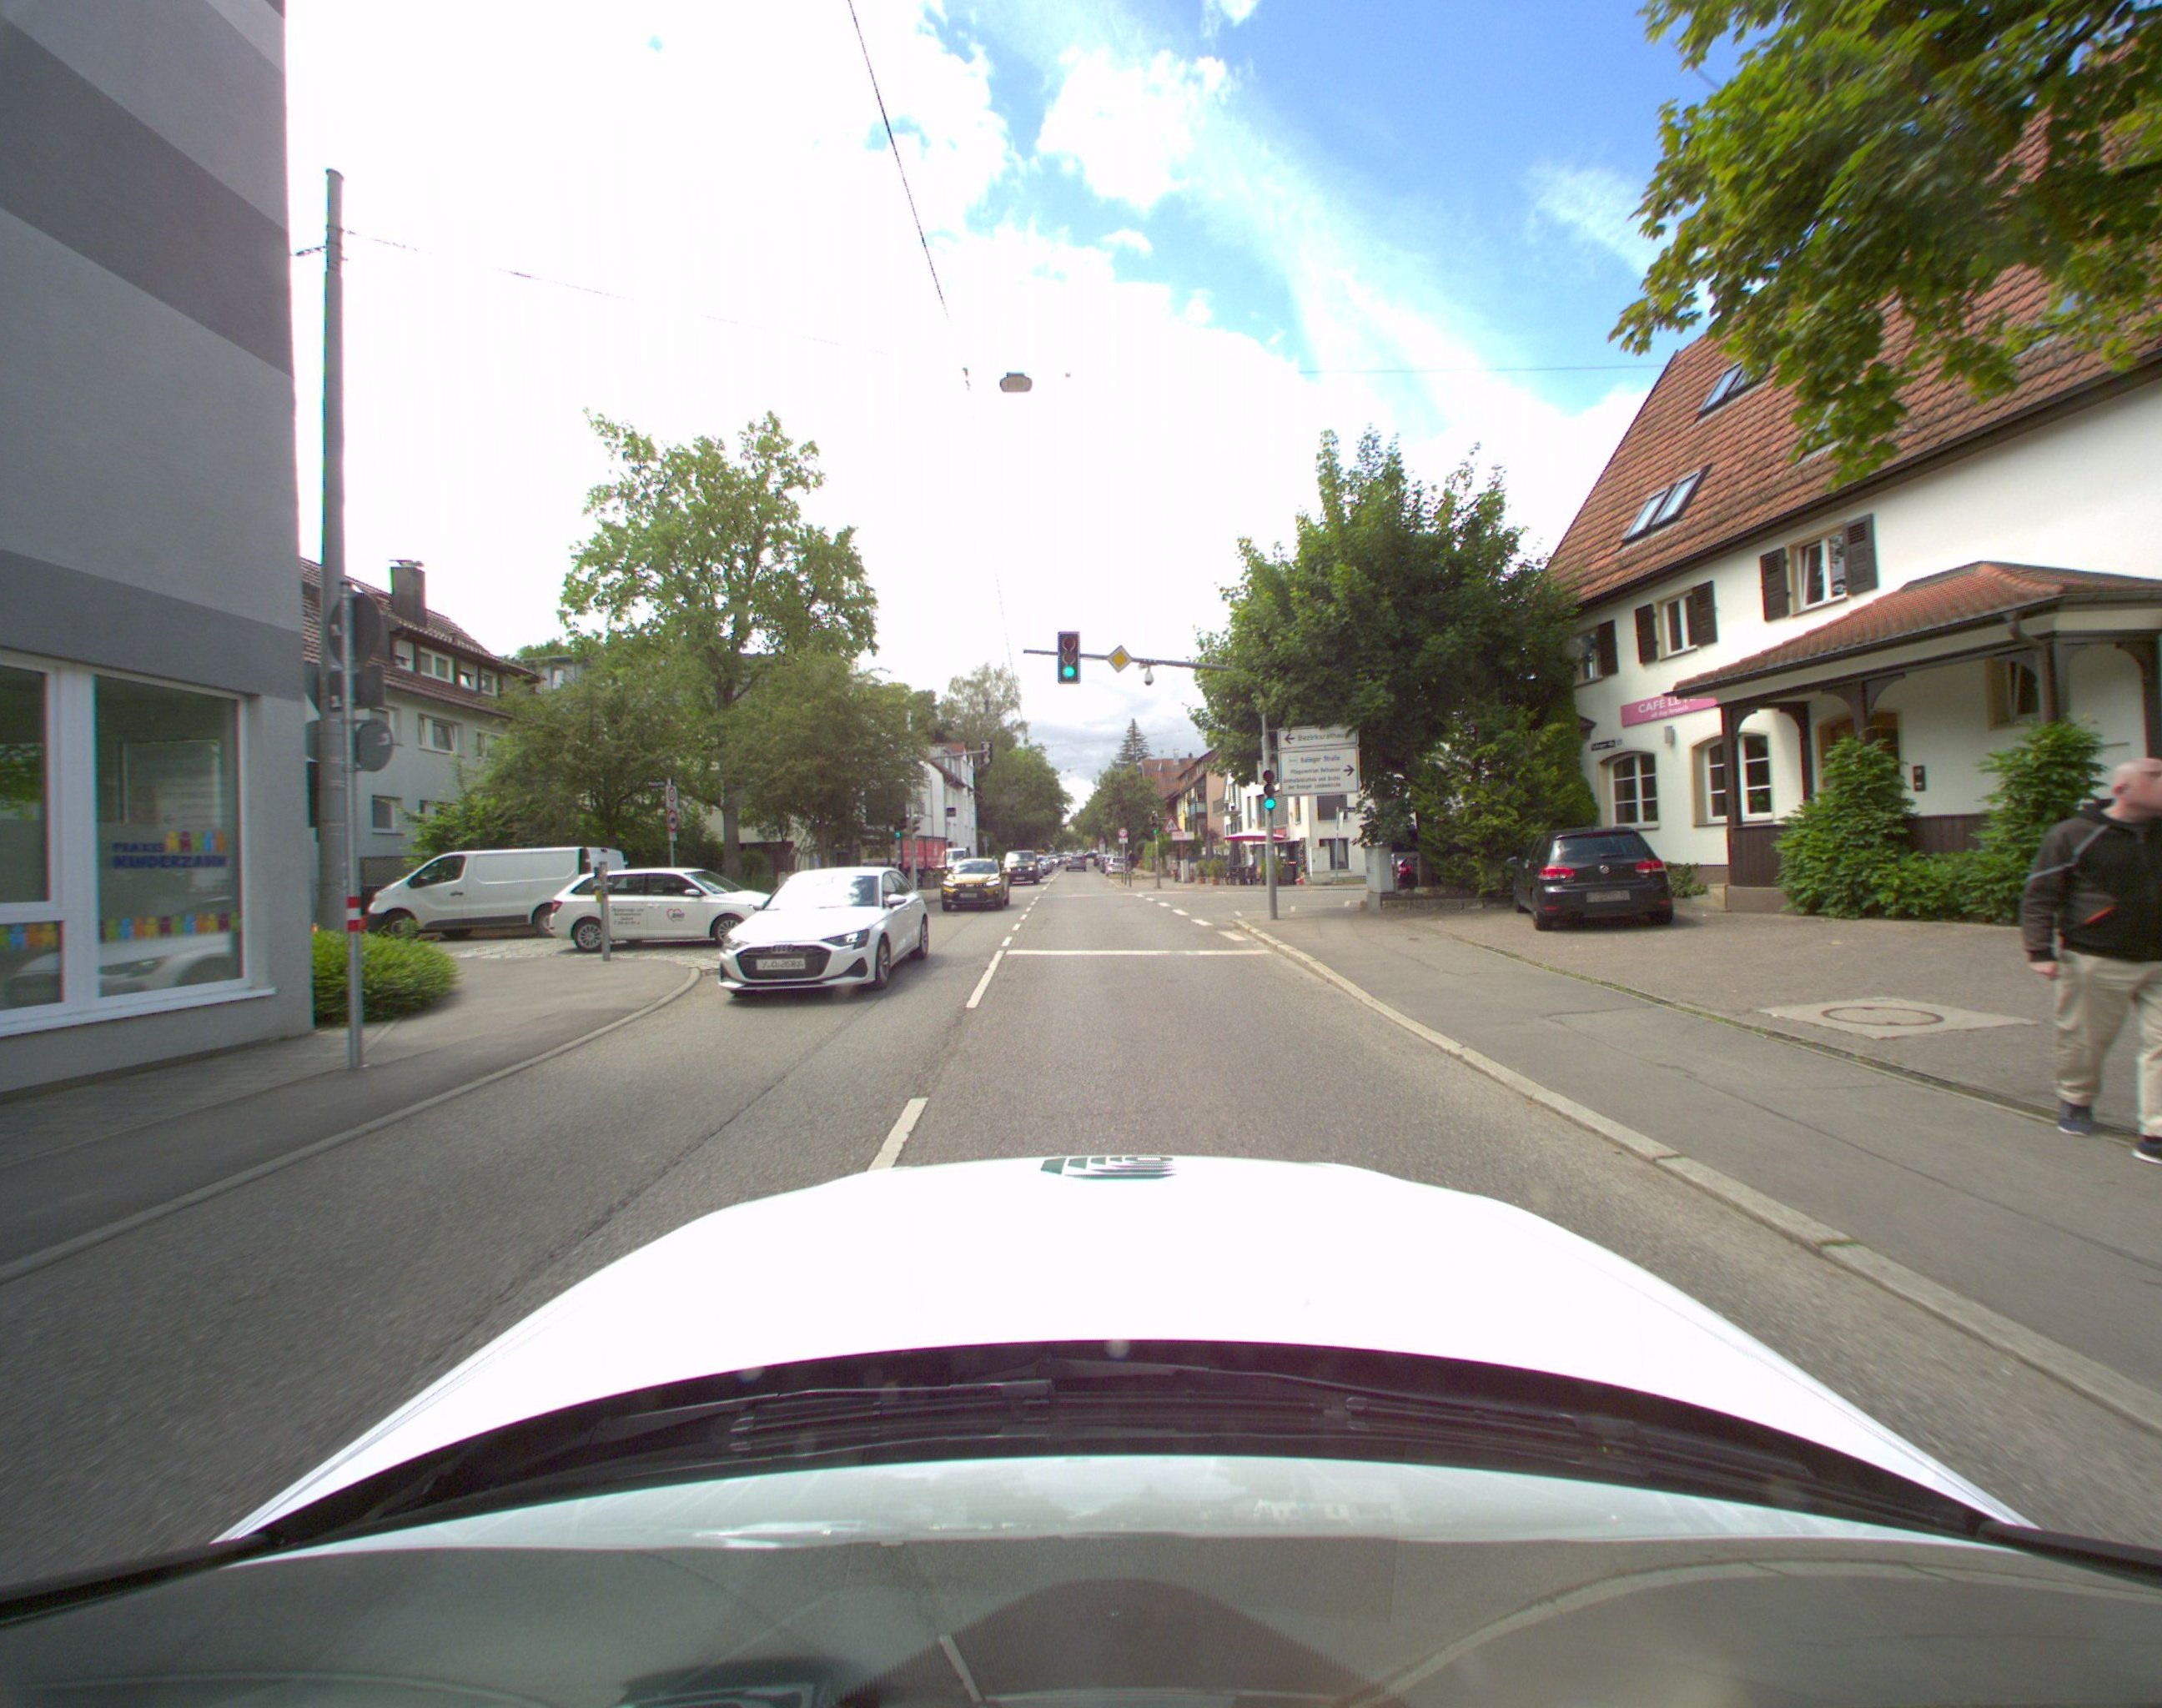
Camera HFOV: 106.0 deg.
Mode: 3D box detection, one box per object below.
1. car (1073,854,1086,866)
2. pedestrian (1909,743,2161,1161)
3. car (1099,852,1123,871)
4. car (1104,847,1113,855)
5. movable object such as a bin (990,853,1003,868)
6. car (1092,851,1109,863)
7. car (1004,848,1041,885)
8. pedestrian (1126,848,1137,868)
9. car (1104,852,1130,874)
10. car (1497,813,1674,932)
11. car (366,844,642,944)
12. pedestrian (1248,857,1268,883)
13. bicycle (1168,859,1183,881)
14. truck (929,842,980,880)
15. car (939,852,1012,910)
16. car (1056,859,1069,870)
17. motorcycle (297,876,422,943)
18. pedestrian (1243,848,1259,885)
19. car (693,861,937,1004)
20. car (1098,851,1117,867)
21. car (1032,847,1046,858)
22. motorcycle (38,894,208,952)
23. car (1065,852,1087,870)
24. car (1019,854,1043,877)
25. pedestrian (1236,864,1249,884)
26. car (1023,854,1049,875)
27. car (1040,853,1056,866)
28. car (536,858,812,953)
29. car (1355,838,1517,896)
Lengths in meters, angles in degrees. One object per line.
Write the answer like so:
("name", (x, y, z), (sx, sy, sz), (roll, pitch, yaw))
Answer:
("car", (-0.188, 0.819, 111.548), (1.810, 1.501, 4.267), (-1, 0, 1))
("pedestrian", (4.716, 0.414, 3.926), (0.733, 1.782, 0.905), (-2, 0, 28))
("car", (2.456, 0.609, 67.938), (1.729, 1.428, 4.881), (1, 0, 0))
("car", (6.738, -0.762, 198.587), (1.986, 2.014, 4.001), (-2, 0, 1))
("movable object such as a bin", (-8.570, 0.660, 82.750), (1.328, 1.427, 1.211), (-2, -1, -7))
("car", (2.327, 0.355, 98.192), (1.796, 1.445, 4.884), (0, 0, -1))
("car", (-3.275, 0.661, 46.293), (1.872, 1.912, 4.747), (-1, 0, -2))
("pedestrian", (4.315, 0.350, 69.852), (0.877, 1.712, 0.842), (-2, -1, 1))
("car", (2.579, 0.622, 59.459), (1.695, 1.480, 4.871), (0, 0, 0))
("car", (7.925, 0.198, 13.175), (1.736, 1.517, 4.102), (-6, 0, 23))
("car", (-12.833, 0.843, 18.411), (4.611, 2.009, 2.093), (-1, 0, -4))
("pedestrian", (7.706, 0.701, 35.459), (0.569, 1.089, 0.629), (-1, -1, -26))
("bicycle", (5.086, 0.858, 44.040), (0.717, 1.150, 2.216), (-2, -1, 5))
("truck", (-8.639, 0.484, 56.386), (2.216, 2.380, 6.329), (-2, 0, 2))
("car", (-3.093, 0.744, 24.560), (1.723, 1.538, 3.998), (-1, 1, -2))
("car", (-2.856, 1.632, 128.268), (1.780, 1.648, 4.490), (-4, 0, 0))
("motorcycle", (-16.096, 1.198, 18.260), (0.838, 1.333, 2.136), (-2, -1, 2))
("pedestrian", (8.310, 0.611, 39.789), (0.429, 1.762, 0.671), (-1, -1, -21))
("car", (-3.183, 0.848, 10.719), (1.869, 1.424, 4.113), (-1, 0, -1))
("car", (2.542, 0.454, 79.361), (1.617, 1.507, 3.778), (-2, 0, -1))
("car", (-7.824, -0.299, 152.808), (2.137, 1.981, 4.933), (-2, 0, 2))
("motorcycle", (-20.521, 1.446, 17.558), (1.203, 1.004, 2.328), (-1, 0, -13))
("car", (-0.439, 0.615, 74.468), (1.969, 1.513, 4.267), (1, 0, 0))
("car", (-3.535, 0.781, 58.027), (1.613, 1.486, 3.809), (-2, 0, -3))
("pedestrian", (7.856, 0.983, 39.600), (0.420, 0.938, 0.494), (-1, -1, -21))
("car", (-3.591, 0.818, 65.228), (1.800, 1.571, 4.158), (-4, 0, 0))
("car", (-4.026, 0.619, 100.089), (1.754, 1.439, 3.969), (-4, 1, -1))
("car", (-7.480, 0.911, 15.294), (4.200, 1.513, 1.821), (-1, 1, -1))
("car", (10.362, 0.337, 23.826), (4.182, 1.415, 1.769), (-3, 1, -17))
